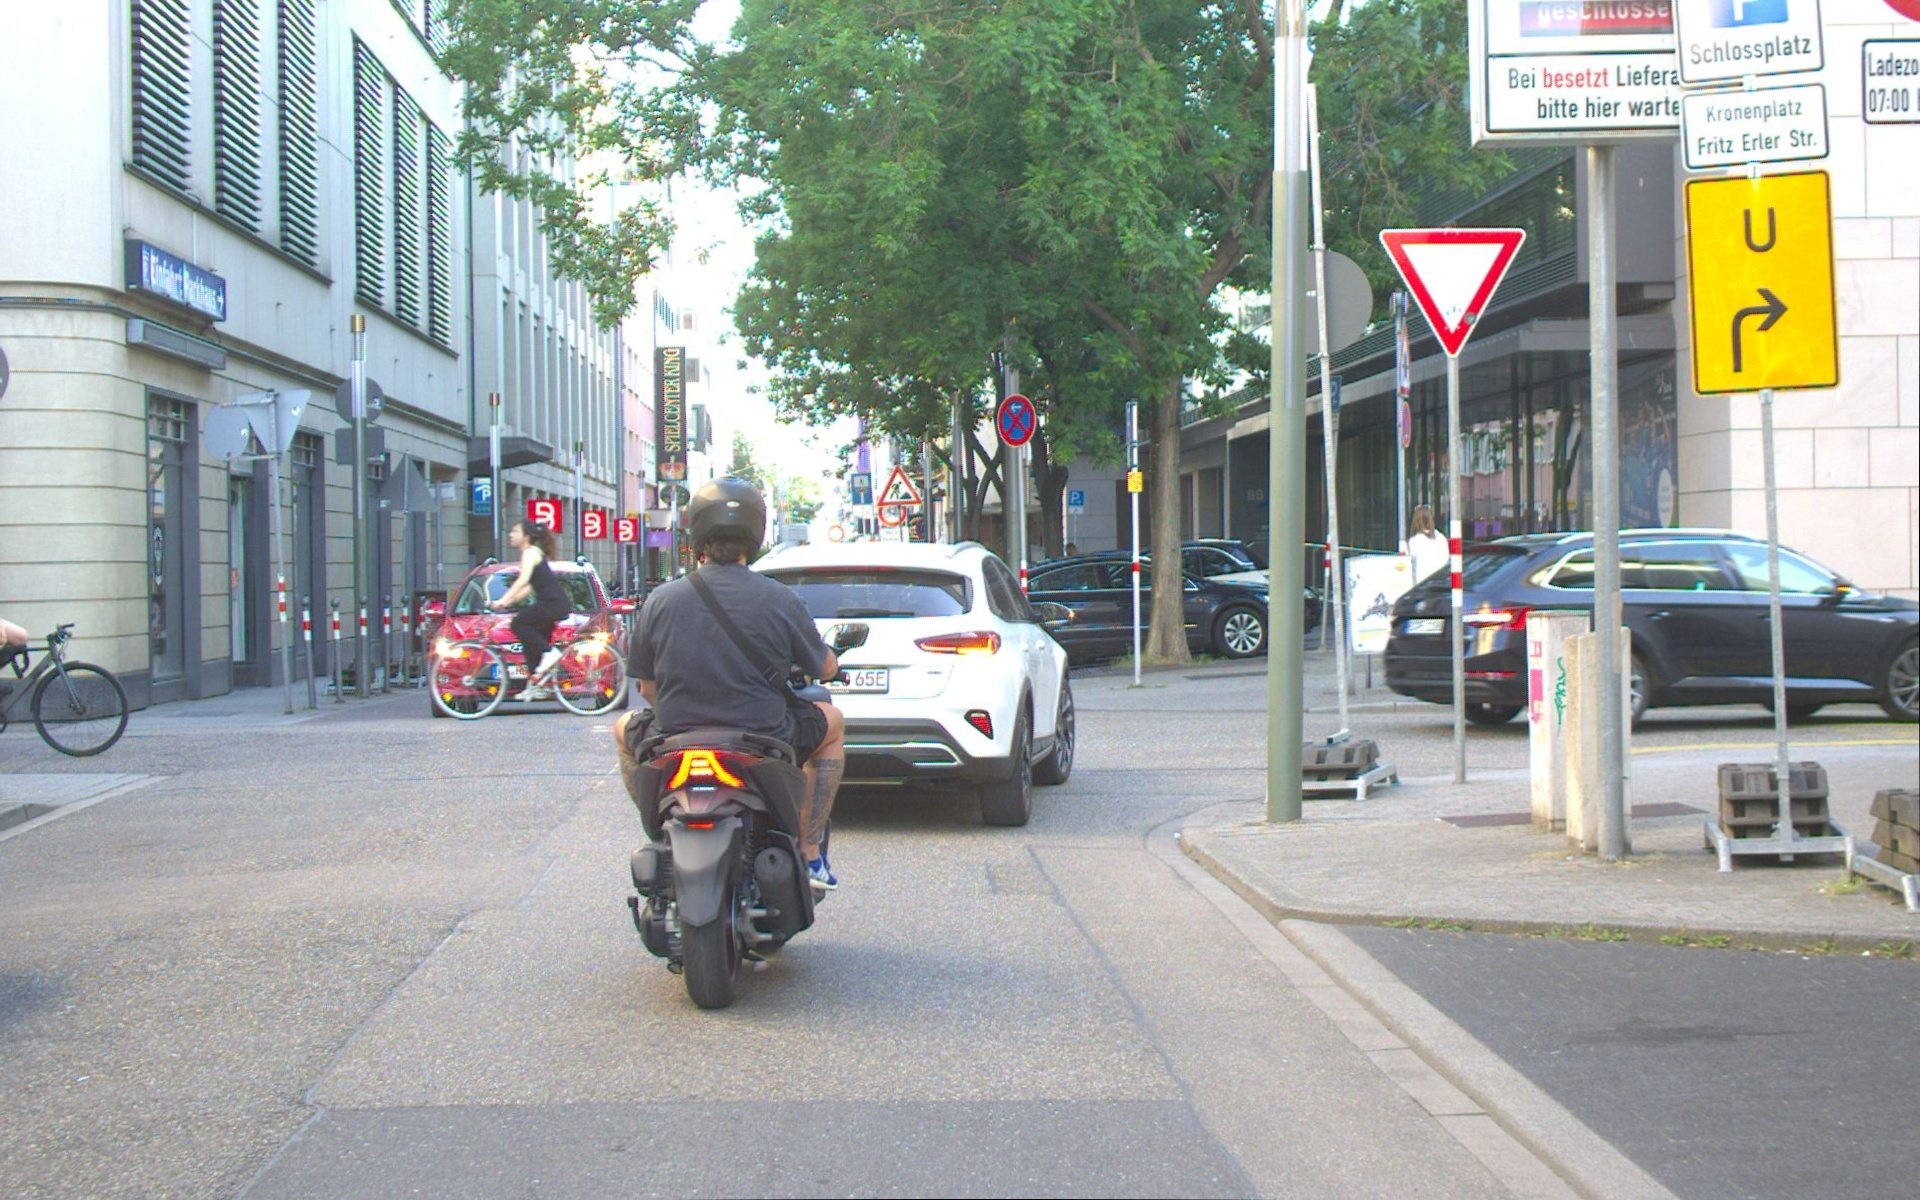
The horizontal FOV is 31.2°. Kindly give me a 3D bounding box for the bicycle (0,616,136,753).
[{"bbox_3d":[-6.887,0.605,24.776,1.814,0.970,0.511,0,0,-10],"label":"bicycle"}]

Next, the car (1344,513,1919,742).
[{"bbox_3d":[5.258,0.152,25.888,4.349,1.536,1.829,-2,2,-22],"label":"car"}]

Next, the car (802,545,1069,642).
[{"bbox_3d":[-0.516,-0.131,67.223,5.004,1.494,2.000,-4,0,-4],"label":"car"}]

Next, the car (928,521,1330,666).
[{"bbox_3d":[2.187,-0.084,45.460,5.004,1.494,2.000,-4,0,-4],"label":"car"}]

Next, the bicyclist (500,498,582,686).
[{"bbox_3d":[-3.630,-0.066,29.834,0.630,1.620,0.498,0,0,3],"label":"bicyclist"}]

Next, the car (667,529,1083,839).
[{"bbox_3d":[-0.355,0.384,19.385,1.823,1.536,4.263,-1,1,6],"label":"car"}]

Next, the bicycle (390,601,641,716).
[{"bbox_3d":[-3.851,0.503,29.839,2.102,0.992,0.518,0,0,4],"label":"bicycle"}]

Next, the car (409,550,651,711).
[{"bbox_3d":[-4.147,0.322,33.753,1.822,1.460,4.263,-1,-1,0],"label":"car"}]

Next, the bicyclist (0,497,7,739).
[{"bbox_3d":[-7.161,0.128,24.731,0.550,1.726,0.501,0,0,-10],"label":"bicyclist"}]

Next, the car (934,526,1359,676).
[{"bbox_3d":[2.287,0.008,43.036,5.004,1.447,2.000,-4,0,-4],"label":"car"}]

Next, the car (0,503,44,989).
[{"bbox_3d":[-4.204,0.578,10.260,1.822,1.672,4.264,-3,1,-1],"label":"car"}]

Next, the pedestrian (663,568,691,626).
[{"bbox_3d":[-7.728,-0.076,93.927,0.732,1.568,0.636,0,0,-1],"label":"pedestrian"}]

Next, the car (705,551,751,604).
[{"bbox_3d":[-10.477,-1.039,155.125,1.993,2.321,5.021,1,1,-4],"label":"car"}]

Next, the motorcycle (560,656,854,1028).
[{"bbox_3d":[-0.800,0.753,11.404,0.872,1.105,1.840,0,0,-1],"label":"motorcycle"}]

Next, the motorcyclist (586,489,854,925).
[{"bbox_3d":[-0.789,0.348,11.442,0.867,1.422,0.455,0,0,-1],"label":"motorcyclist"}]

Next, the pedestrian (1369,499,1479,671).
[{"bbox_3d":[4.773,-0.152,35.422,0.905,1.700,0.834,-4,0,-1],"label":"pedestrian"}]
